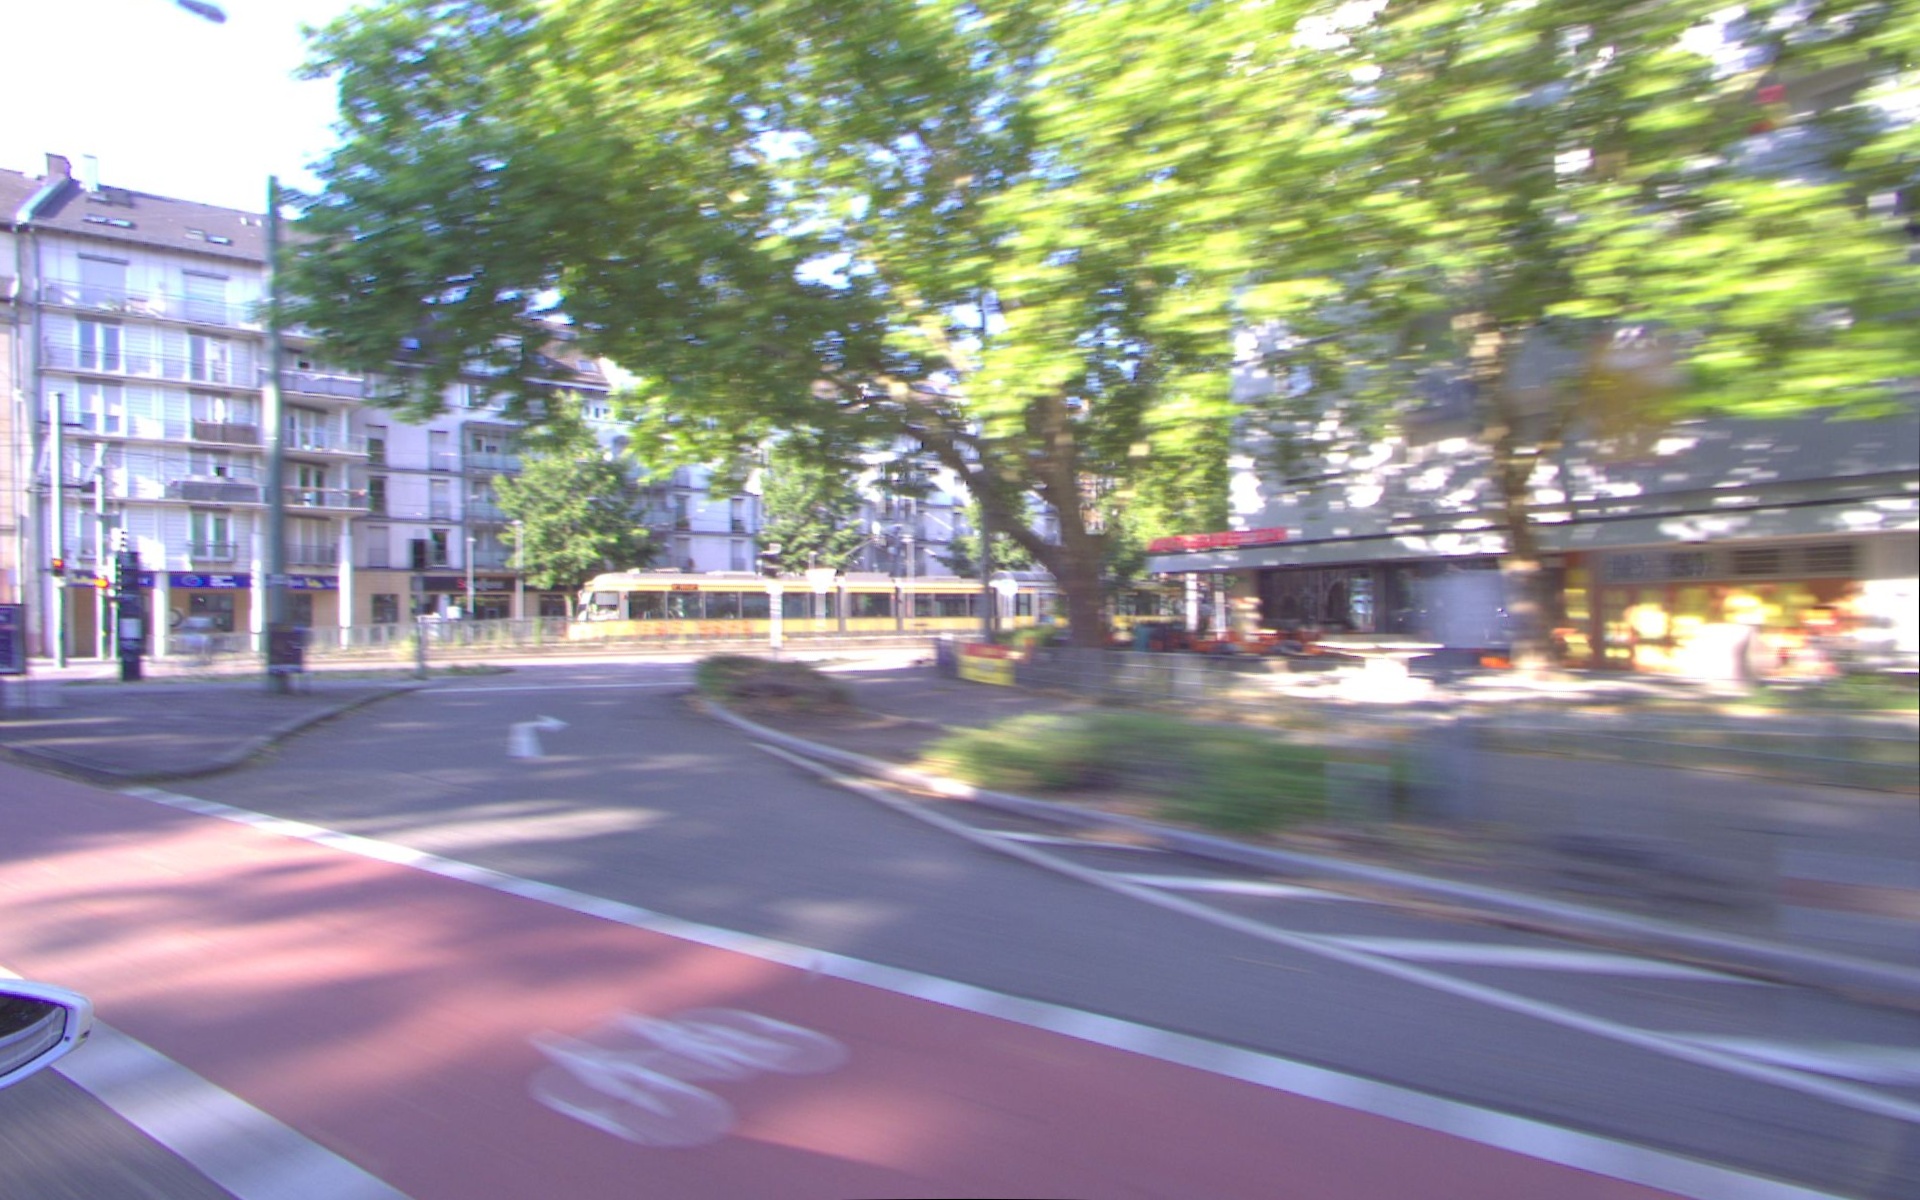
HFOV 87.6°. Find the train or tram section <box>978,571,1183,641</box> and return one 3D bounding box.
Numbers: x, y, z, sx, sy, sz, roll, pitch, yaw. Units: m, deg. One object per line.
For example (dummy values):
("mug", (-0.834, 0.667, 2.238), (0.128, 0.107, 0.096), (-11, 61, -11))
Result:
("train or tram section", (7.664, 0.545, 61.515), (13.833, 3.685, 3.396), (3, -3, -35))

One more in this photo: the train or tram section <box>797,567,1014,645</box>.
("train or tram section", (-2.708, 0.508, 53.940), (11.682, 3.685, 3.396), (3, -3, -35))

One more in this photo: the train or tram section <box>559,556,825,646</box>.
("train or tram section", (-12.446, 0.246, 47.448), (11.674, 3.685, 3.398), (3, -3, -33))

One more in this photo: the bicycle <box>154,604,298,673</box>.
("bicycle", (-18.637, 1.012, 25.516), (0.822, 1.676, 2.827), (-2, -4, 43))

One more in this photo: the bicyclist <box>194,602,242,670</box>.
("bicyclist", (-18.802, 0.926, 25.369), (0.924, 1.677, 0.798), (-2, -3, 43))
